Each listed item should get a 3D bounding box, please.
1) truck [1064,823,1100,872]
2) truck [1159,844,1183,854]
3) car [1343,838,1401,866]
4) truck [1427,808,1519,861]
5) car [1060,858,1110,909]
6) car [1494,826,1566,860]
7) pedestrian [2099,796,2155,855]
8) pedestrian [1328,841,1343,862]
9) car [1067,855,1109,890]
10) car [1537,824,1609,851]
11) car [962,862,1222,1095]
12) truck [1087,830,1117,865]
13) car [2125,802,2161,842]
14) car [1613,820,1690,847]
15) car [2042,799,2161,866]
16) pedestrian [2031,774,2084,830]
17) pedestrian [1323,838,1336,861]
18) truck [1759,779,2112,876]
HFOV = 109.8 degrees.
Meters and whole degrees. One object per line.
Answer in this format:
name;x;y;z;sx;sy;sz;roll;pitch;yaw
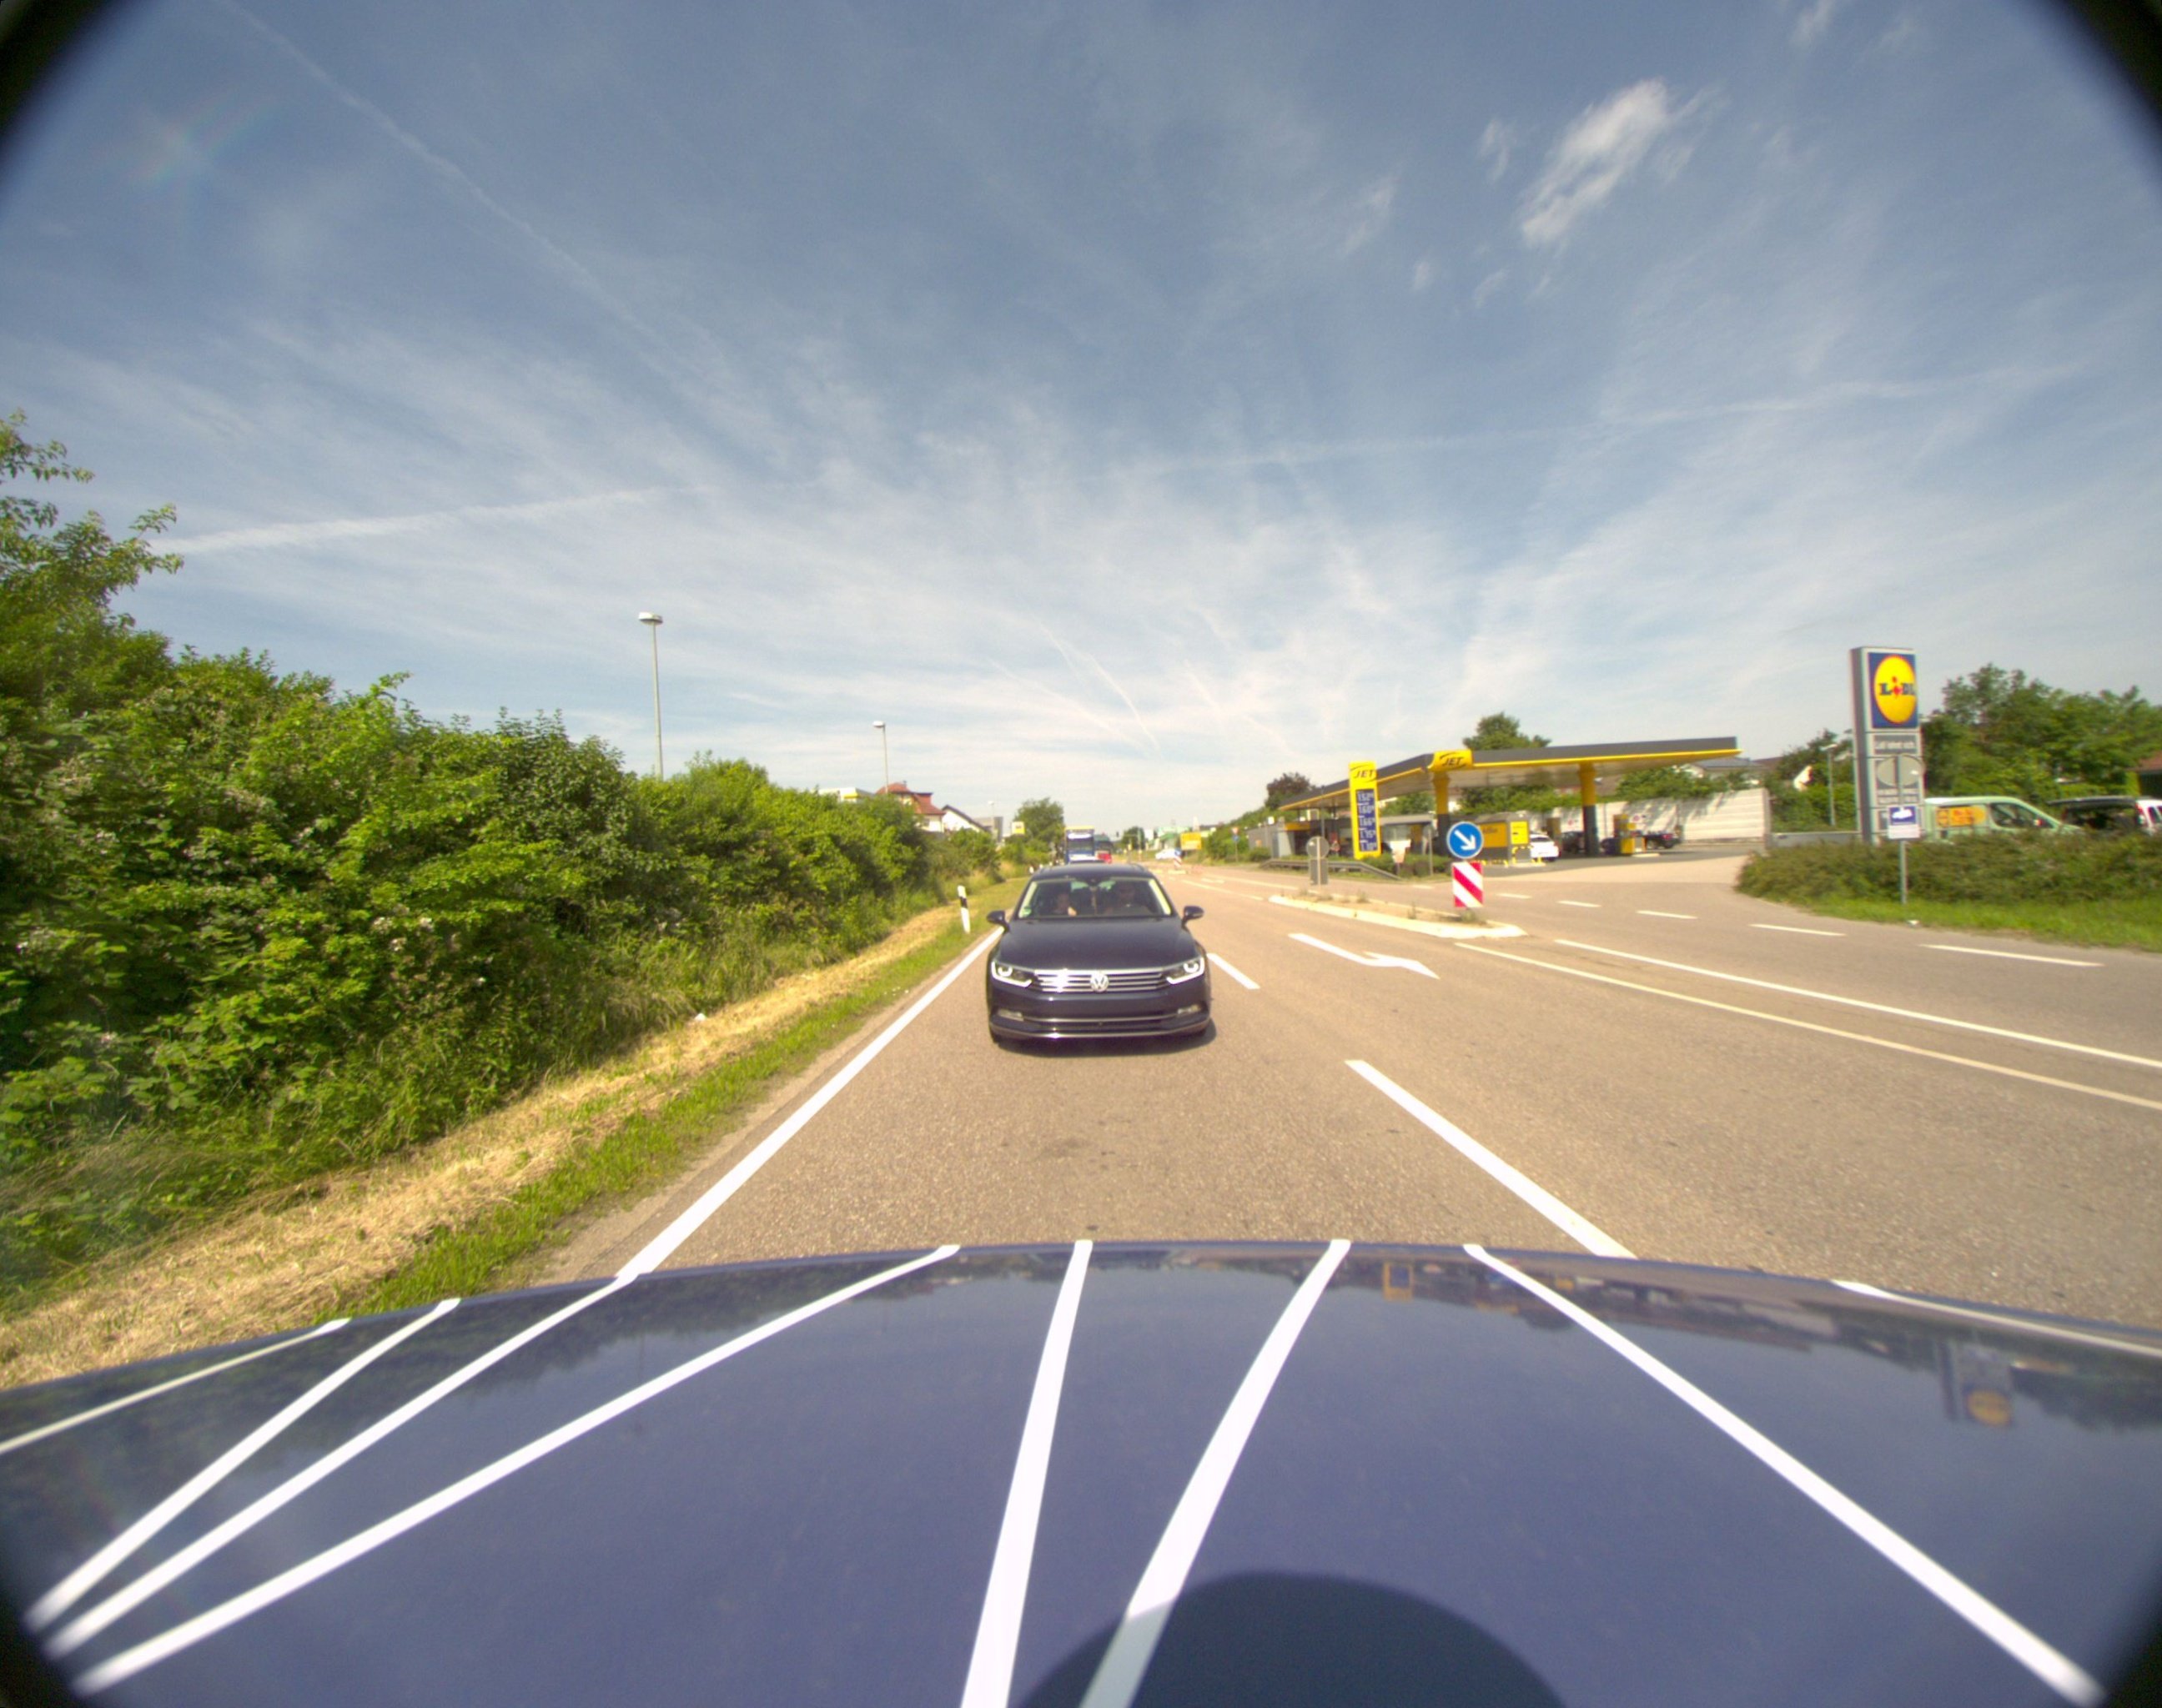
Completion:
truck;0.209;-0.574;69.542;2.855;3.999;12.916;-2;0;1
truck;19.197;-1.070;162.070;4.772;1.997;1.999;-3;1;-3
car;19.054;-0.111;49.982;1.999;1.696;4.263;-2;0;-3
truck;23.868;-1.160;46.595;2.250;2.906;6.282;-2;1;-1
car;0.153;0.913;24.939;1.471;1.451;3.797;-2;0;1
car;24.258;-0.551;41.203;1.736;1.718;4.001;0;0;3
pedestrian;28.850;-0.783;20.968;0.705;1.566;0.807;-3;2;-27
pedestrian;17.835;-0.164;53.266;0.914;1.419;0.494;-2;1;9
car;0.363;0.804;35.603;1.814;1.466;3.974;-2;0;1
car;32.211;-1.063;49.899;1.753;1.603;3.873;-2;0;-10
car;0.113;0.897;7.730;1.756;1.493;4.925;-2;0;1
truck;2.399;-0.766;90.606;2.675;3.897;10.046;-3;0;-2
car;44.686;-1.399;30.344;3.999;1.531;1.769;-3;0;-7
car;37.260;-1.331;49.739;1.753;1.603;3.873;-2;0;-8
car;30.699;-0.645;22.390;4.172;1.801;1.877;-3;1;-23
pedestrian;28.188;-1.486;21.933;0.705;1.566;0.807;-3;2;-26
pedestrian;20.714;-0.361;63.335;0.798;1.827;0.640;-3;1;1
truck;23.861;-0.633;21.776;6.333;2.361;2.253;-2;0;34
